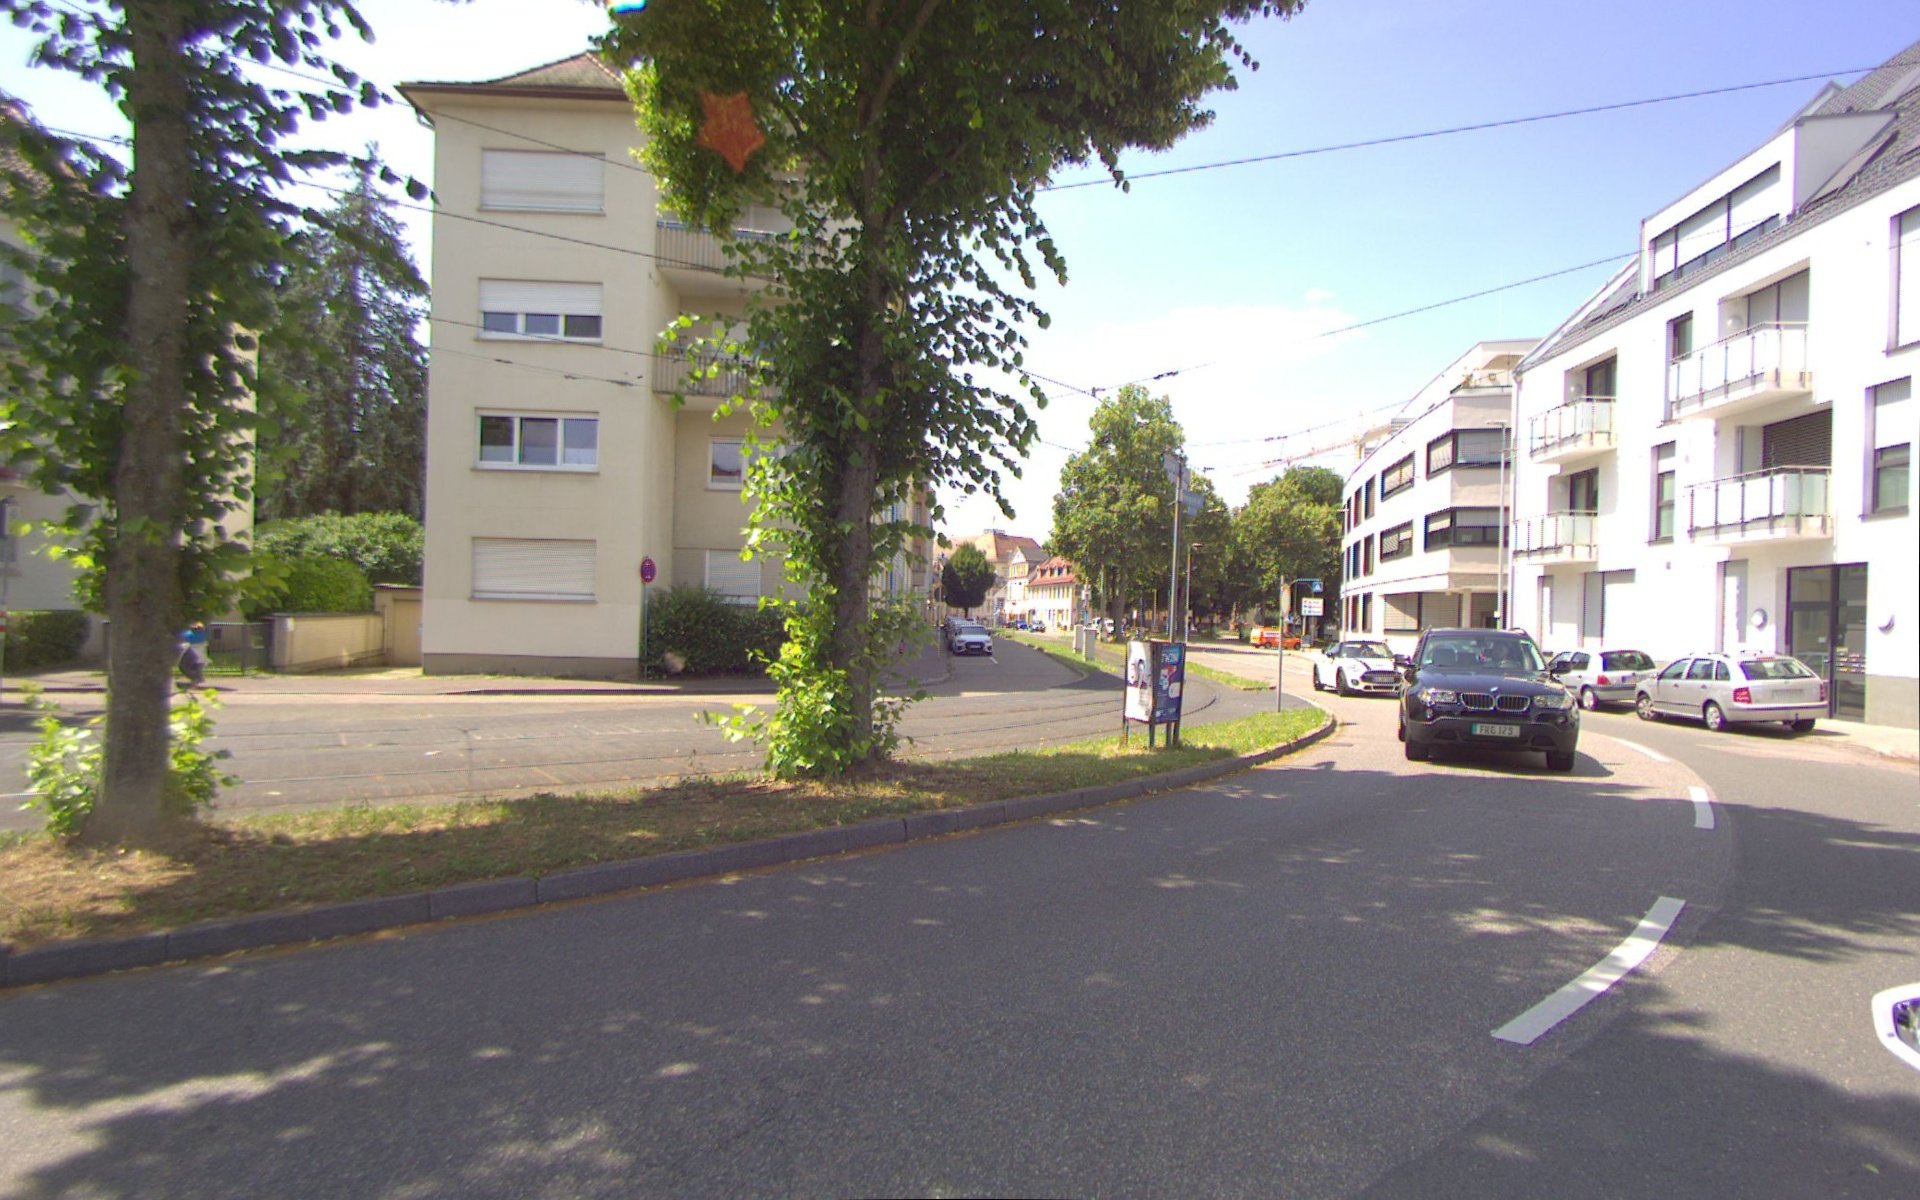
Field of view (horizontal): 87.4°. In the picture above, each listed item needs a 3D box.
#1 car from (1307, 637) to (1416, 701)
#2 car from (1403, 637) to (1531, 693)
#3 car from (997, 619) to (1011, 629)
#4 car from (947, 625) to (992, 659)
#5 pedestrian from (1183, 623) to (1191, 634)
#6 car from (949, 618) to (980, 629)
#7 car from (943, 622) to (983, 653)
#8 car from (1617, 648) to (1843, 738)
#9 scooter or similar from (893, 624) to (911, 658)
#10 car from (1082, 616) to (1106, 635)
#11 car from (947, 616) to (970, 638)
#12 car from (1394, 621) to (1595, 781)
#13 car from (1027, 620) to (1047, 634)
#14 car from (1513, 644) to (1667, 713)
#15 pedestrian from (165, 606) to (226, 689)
[{"bbox_3d":[10.342,1.729,26.148,1.743,1.483,3.750,1,-2,8],"label":"car"},{"bbox_3d":[15.617,1.949,31.219,1.769,1.529,4.549,-2,-2,2],"label":"car"},{"bbox_3d":[7.603,4.166,173.847,1.832,1.505,3.995,2,-1,-7],"label":"car"},{"bbox_3d":[0.411,1.996,48.884,1.896,1.471,4.374,-1,-1,-3],"label":"car"},{"bbox_3d":[27.796,3.466,123.009,0.890,1.269,1.148,2,1,14],"label":"pedestrian"},{"bbox_3d":[0.648,3.316,140.865,4.136,1.525,2.002,0,-1,-5],"label":"car"},{"bbox_3d":[0.111,1.996,54.325,1.896,1.525,4.324,1,-1,-3],"label":"car"},{"bbox_3d":[14.925,1.740,19.775,1.697,1.452,4.045,-2,-2,8],"label":"car"},{"bbox_3d":[-2.452,1.722,42.425,0.627,1.240,1.320,3,4,0],"label":"scooter or similar"},{"bbox_3d":[15.530,2.939,116.877,2.015,2.029,5.249,2,-1,0],"label":"car"},{"bbox_3d":[-0.139,2.123,80.038,1.806,1.708,4.142,0,-1,-1],"label":"car"},{"bbox_3d":[6.648,1.165,12.932,1.826,1.653,4.328,0,-2,22],"label":"car"},{"bbox_3d":[9.704,3.373,126.921,1.873,1.554,4.242,3,-1,-3],"label":"car"},{"bbox_3d":[15.268,1.864,24.563,1.566,1.452,3.709,-2,-2,4],"label":"car"},{"bbox_3d":[-14.908,0.920,19.608,0.733,1.580,0.773,2,0,-22],"label":"pedestrian"}]
